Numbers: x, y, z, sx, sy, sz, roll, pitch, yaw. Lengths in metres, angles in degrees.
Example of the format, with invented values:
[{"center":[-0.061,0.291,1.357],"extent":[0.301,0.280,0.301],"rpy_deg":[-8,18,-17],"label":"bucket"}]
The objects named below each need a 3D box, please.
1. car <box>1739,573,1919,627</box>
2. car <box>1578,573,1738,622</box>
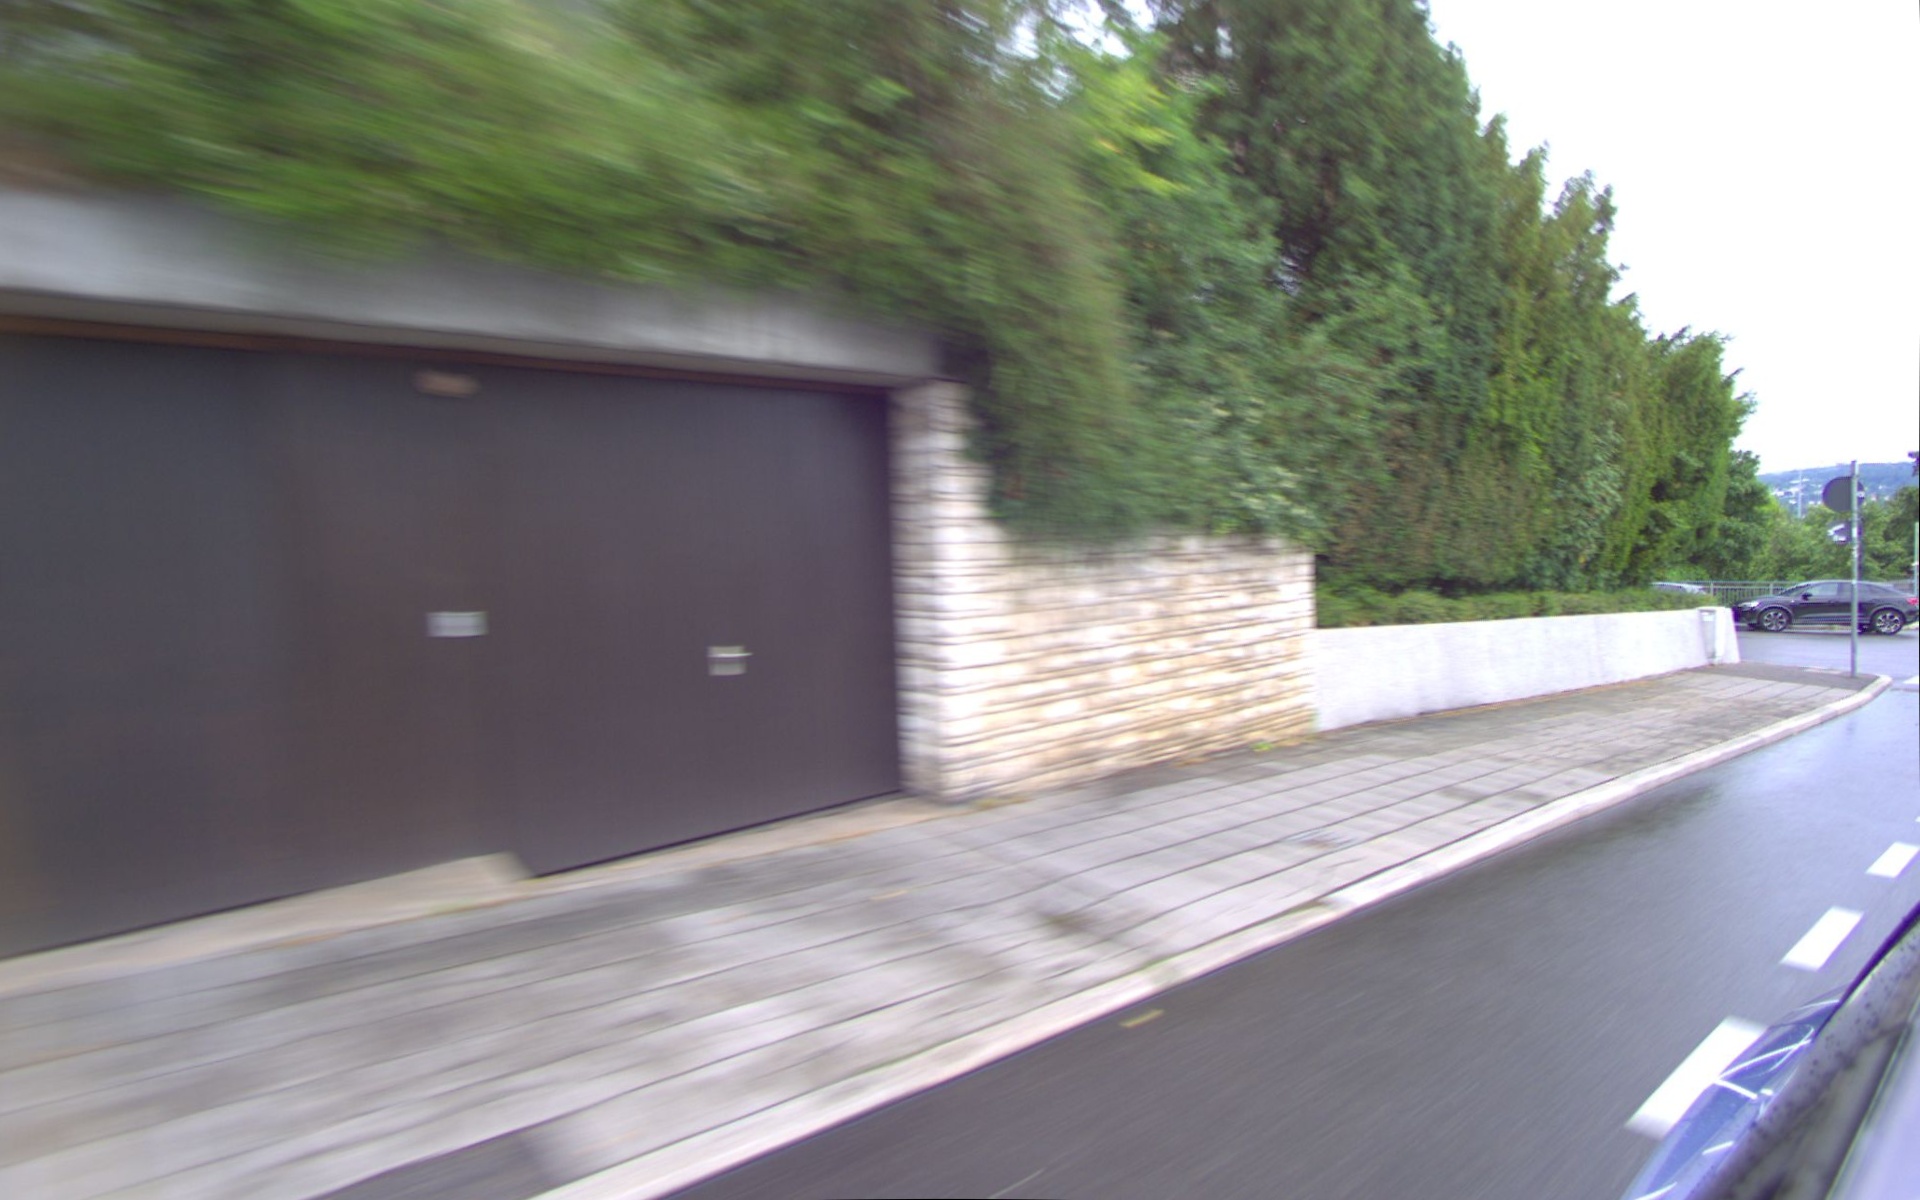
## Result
[{"center":[26.325,-0.042,30.492],"extent":[4.161,1.542,1.982],"rpy_deg":[1,1,27],"label":"car"},{"center":[22.350,-0.105,32.601],"extent":[4.018,1.442,1.785],"rpy_deg":[1,3,28],"label":"car"}]
